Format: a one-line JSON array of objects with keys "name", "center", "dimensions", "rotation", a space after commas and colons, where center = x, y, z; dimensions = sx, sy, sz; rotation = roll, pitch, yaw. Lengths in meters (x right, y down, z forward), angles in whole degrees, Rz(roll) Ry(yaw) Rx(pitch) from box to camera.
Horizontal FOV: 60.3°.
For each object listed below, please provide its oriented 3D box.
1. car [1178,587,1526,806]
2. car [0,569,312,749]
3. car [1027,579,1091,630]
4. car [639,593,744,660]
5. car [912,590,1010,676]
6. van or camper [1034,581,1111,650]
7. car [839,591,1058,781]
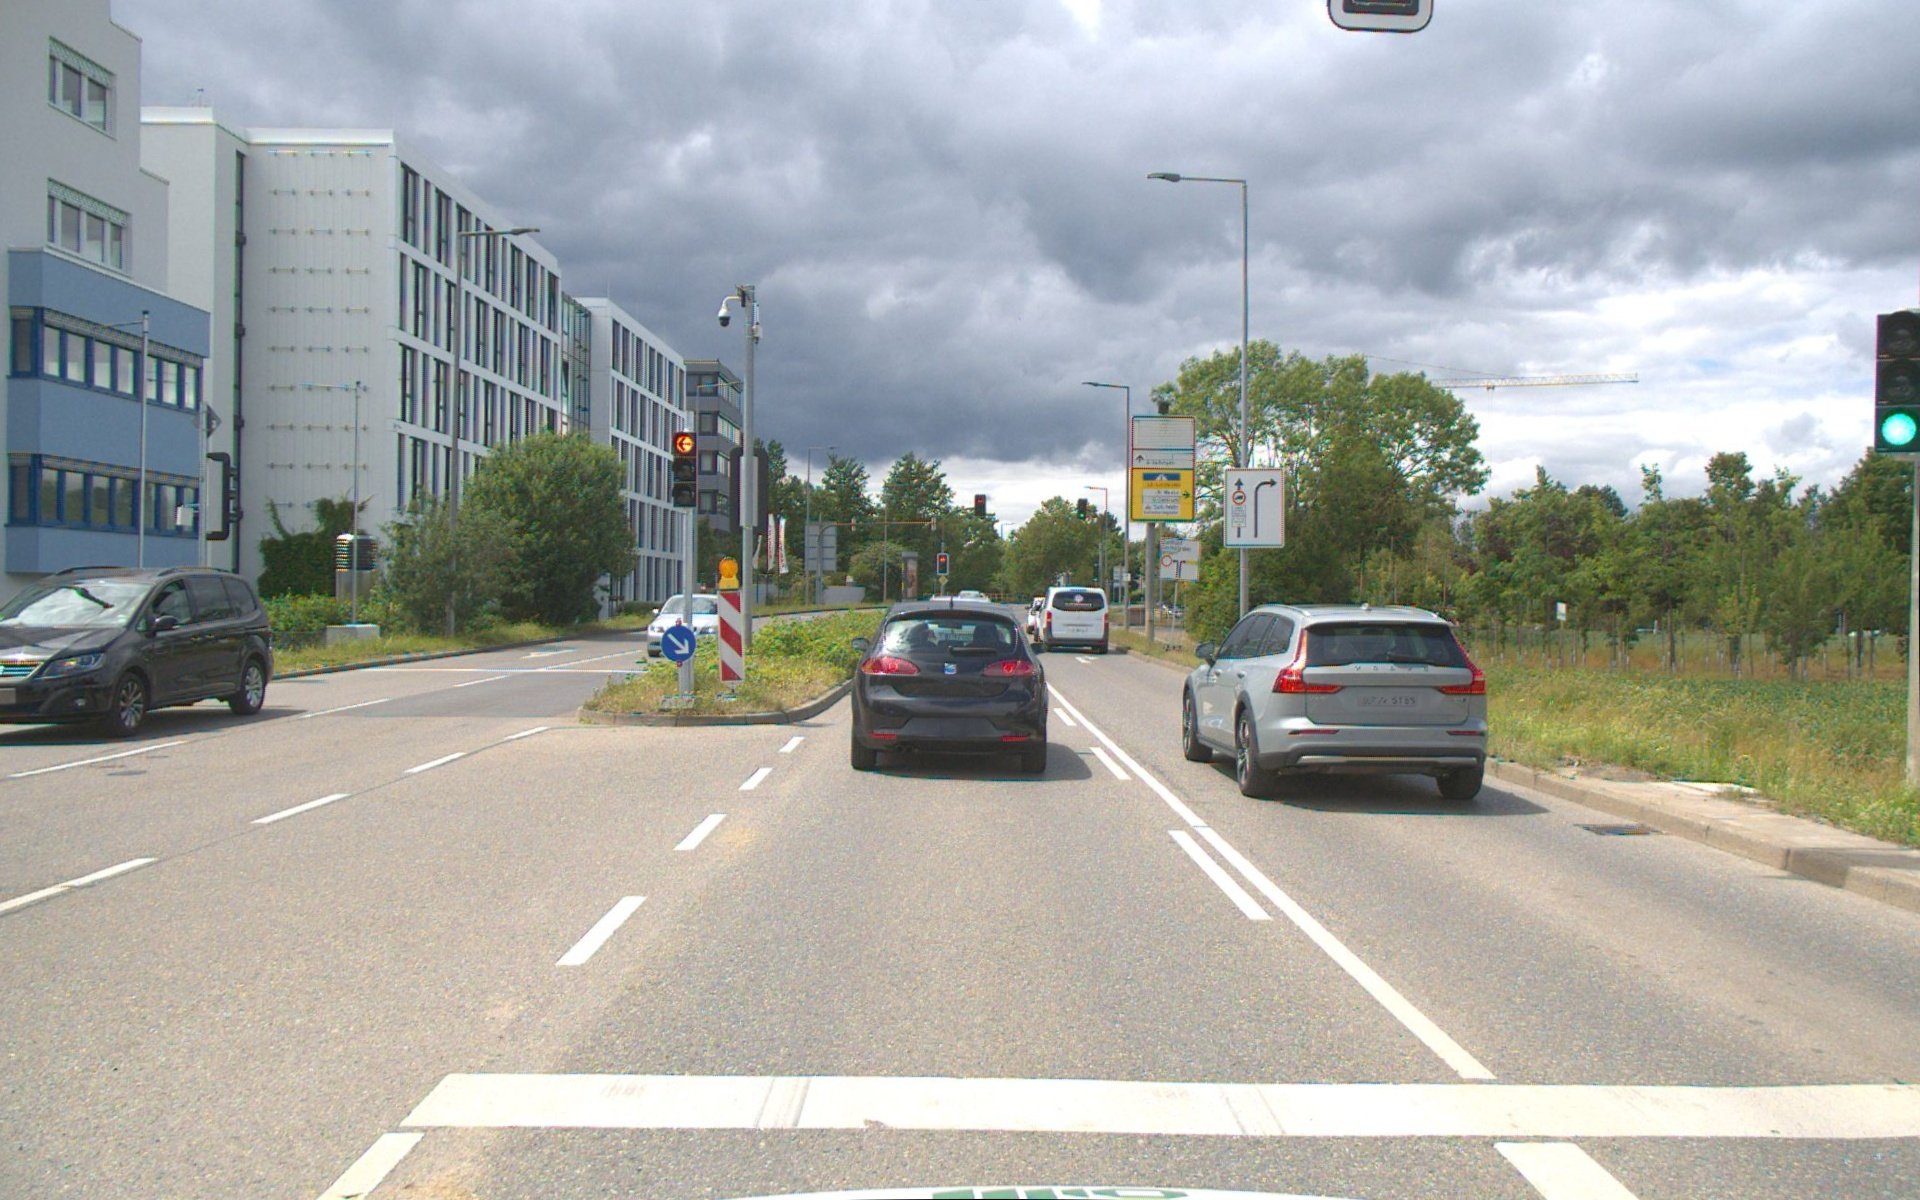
[{"name": "car", "center": [3.088, 0.676, 14.003], "dimensions": [1.825, 1.545, 4.445], "rotation": [0, 0, -1]}, {"name": "car", "center": [-9.160, 0.553, 18.341], "dimensions": [1.952, 1.732, 4.761], "rotation": [0, 0, 2]}, {"name": "car", "center": [3.419, 0.147, 57.659], "dimensions": [1.953, 1.660, 4.000], "rotation": [1, 0, 0]}, {"name": "car", "center": [-6.210, 0.572, 38.688], "dimensions": [1.755, 1.473, 4.421], "rotation": [1, 0, -1]}, {"name": "car", "center": [0.013, 0.585, 31.343], "dimensions": [1.737, 1.517, 3.582], "rotation": [0, 0, 0]}, {"name": "van or camper", "center": [3.242, 0.435, 48.524], "dimensions": [1.952, 1.892, 4.944], "rotation": [1, 0, 1]}, {"name": "car", "center": [-0.034, 0.688, 15.274], "dimensions": [1.736, 1.477, 3.583], "rotation": [2, 0, 2]}]
